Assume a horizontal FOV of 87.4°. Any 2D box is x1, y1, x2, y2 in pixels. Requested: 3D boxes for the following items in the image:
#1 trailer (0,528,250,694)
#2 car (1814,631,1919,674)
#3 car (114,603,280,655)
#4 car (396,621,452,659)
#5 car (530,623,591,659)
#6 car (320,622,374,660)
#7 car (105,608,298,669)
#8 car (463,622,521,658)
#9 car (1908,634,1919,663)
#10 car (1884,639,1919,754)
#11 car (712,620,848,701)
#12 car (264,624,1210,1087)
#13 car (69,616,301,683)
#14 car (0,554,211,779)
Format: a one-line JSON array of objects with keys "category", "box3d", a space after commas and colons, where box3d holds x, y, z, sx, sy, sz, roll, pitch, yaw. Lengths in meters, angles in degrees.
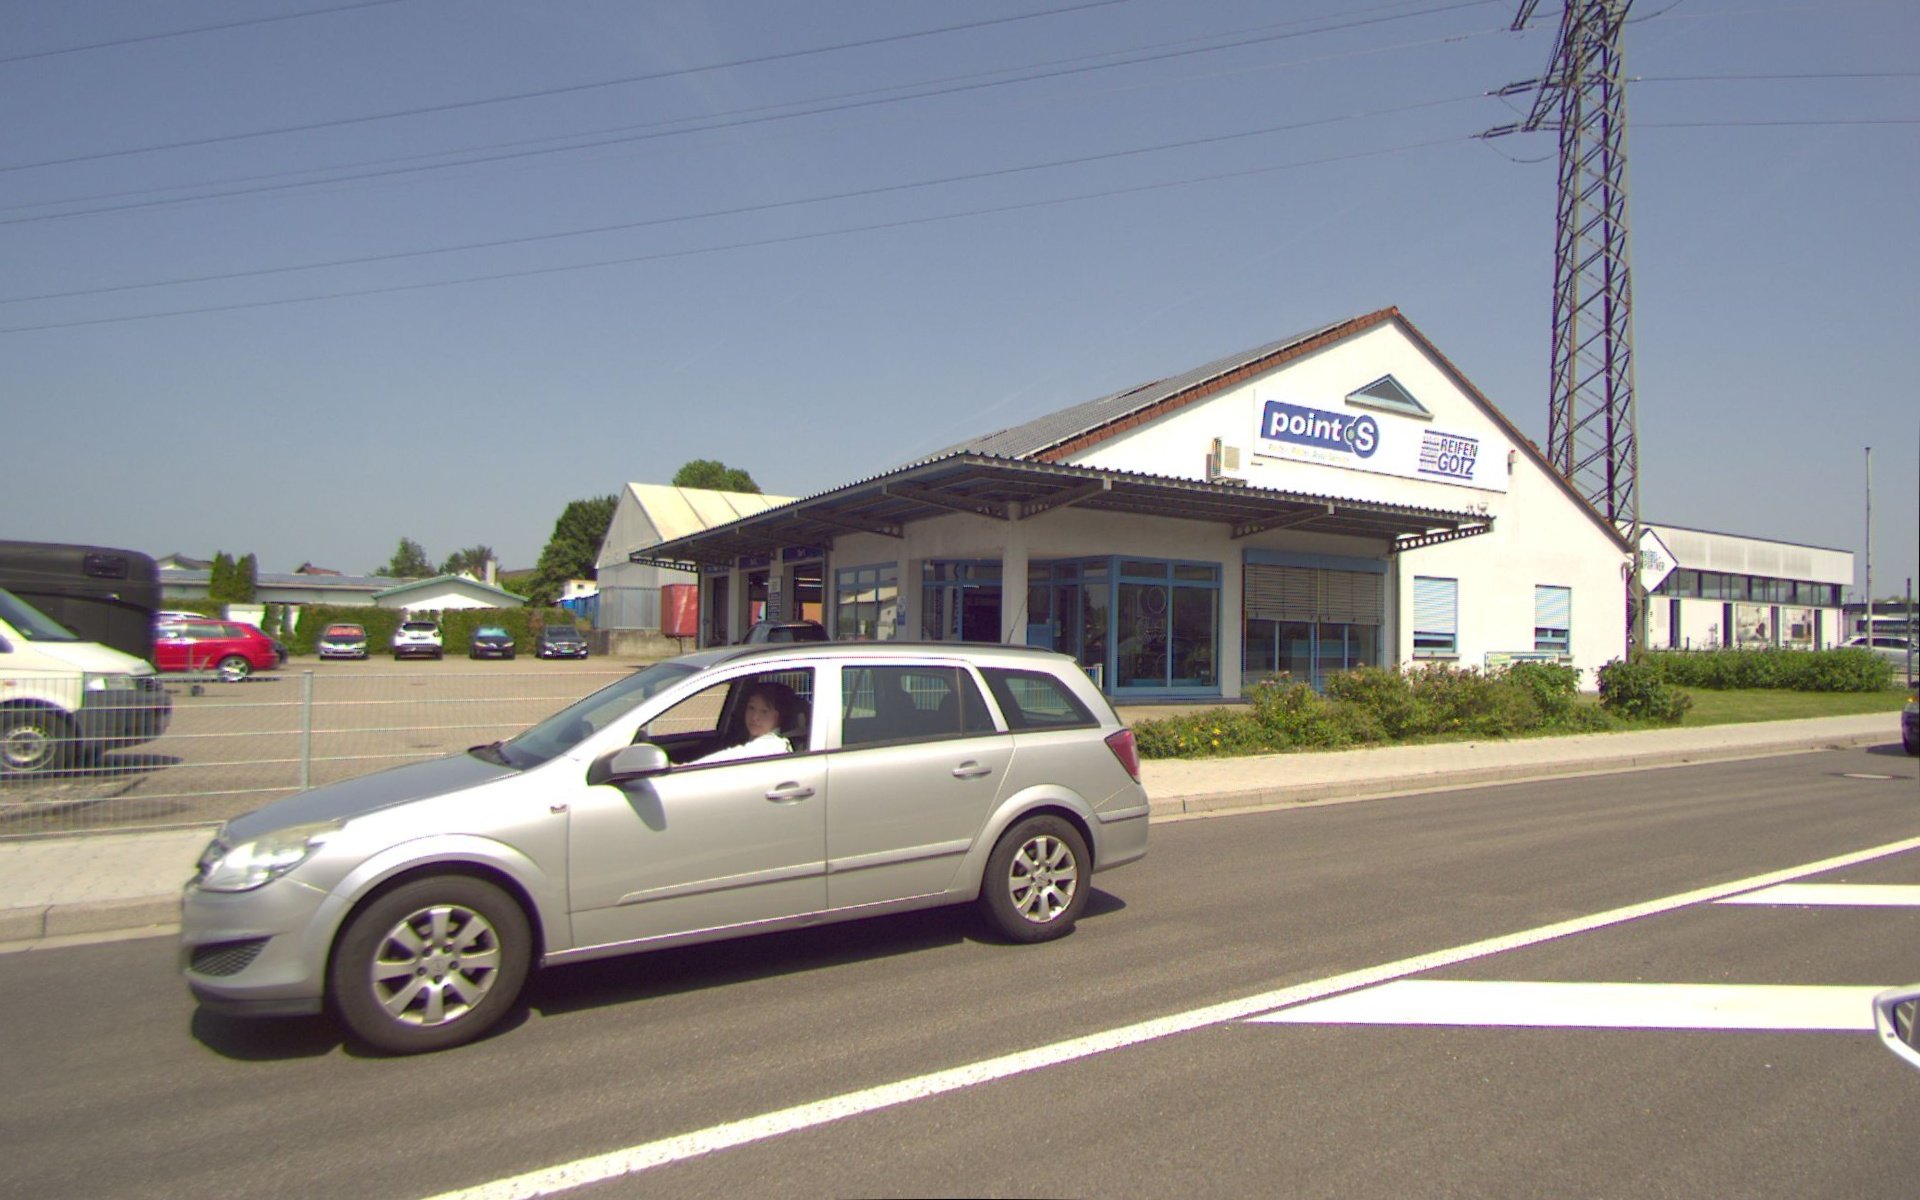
[{"category": "trailer", "box3d": [-16.621, 0.231, 18.853, 5.065, 2.886, 2.152, 3, -1, -31]}, {"category": "car", "box3d": [37.048, 2.089, 40.035, 1.744, 1.475, 4.202, 2, 1, -31]}, {"category": "car", "box3d": [-25.120, 0.996, 33.280, 4.144, 1.635, 1.770, 1, -2, -30]}, {"category": "car", "box3d": [-22.290, 1.660, 41.710, 1.765, 1.467, 3.965, 1, -3, -32]}, {"category": "car", "box3d": [-17.593, 1.796, 44.122, 1.765, 1.467, 3.965, 1, -3, -32]}, {"category": "car", "box3d": [-24.801, 1.650, 40.623, 1.765, 1.467, 3.965, 1, -3, -32]}, {"category": "car", "box3d": [-21.464, 1.112, 28.669, 4.144, 1.635, 1.770, 1, -2, -30]}, {"category": "car", "box3d": [-20.046, 1.711, 42.937, 1.765, 1.467, 3.965, 1, -3, -32]}, {"category": "car", "box3d": [44.650, 2.257, 44.571, 1.487, 1.271, 3.491, 2, 1, -31]}, {"category": "car", "box3d": [15.508, 1.390, 14.822, 3.926, 1.621, 1.661, 2, -4, -31]}, {"category": "car", "box3d": [-3.830, 1.210, 20.887, 1.761, 1.505, 3.974, 1, -2, -26]}, {"category": "car", "box3d": [-0.889, 0.924, 5.118, 4.211, 1.485, 1.755, 2, -4, -32]}, {"category": "car", "box3d": [-18.302, 1.171, 24.007, 4.144, 1.467, 1.770, 1, -2, -30]}, {"category": "car", "box3d": [-10.133, 0.590, 9.444, 4.624, 2.040, 1.985, 3, -3, -29]}]
